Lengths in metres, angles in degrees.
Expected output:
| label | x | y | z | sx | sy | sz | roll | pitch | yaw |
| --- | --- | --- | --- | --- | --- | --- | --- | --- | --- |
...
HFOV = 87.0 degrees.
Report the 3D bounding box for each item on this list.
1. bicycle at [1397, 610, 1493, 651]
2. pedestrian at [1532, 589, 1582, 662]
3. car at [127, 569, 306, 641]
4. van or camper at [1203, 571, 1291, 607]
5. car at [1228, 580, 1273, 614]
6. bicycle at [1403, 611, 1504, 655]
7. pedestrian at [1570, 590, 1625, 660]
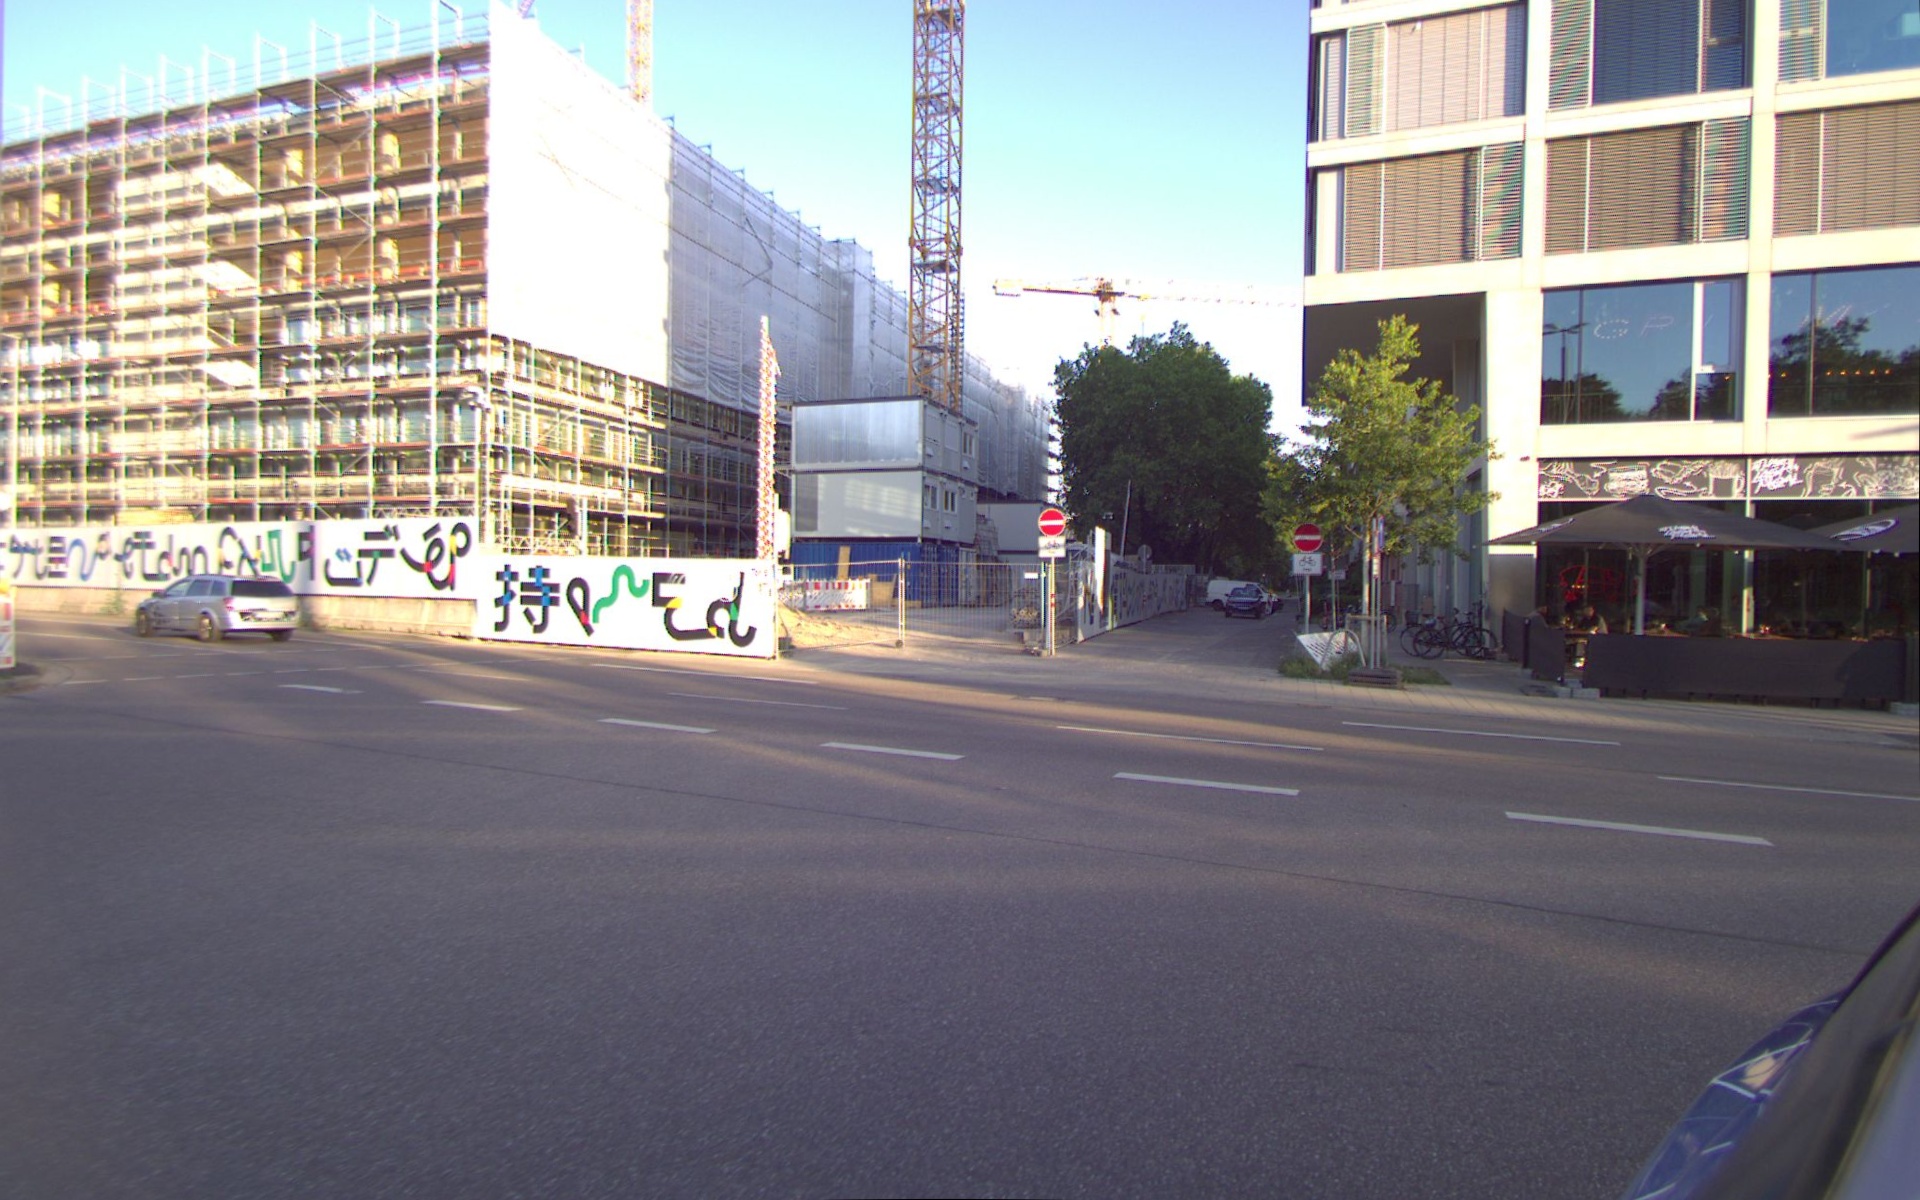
| label | x | y | z | sx | sy | sz | roll | pitch | yaw |
| --- | --- | --- | --- | --- | --- | --- | --- | --- | --- |
| bicycle | 11.132 | 0.691 | 23.296 | 1.952 | 0.885 | 0.393 | 0 | 2 | 18 |
| pedestrian | 12.553 | 0.528 | 21.283 | 0.763 | 1.481 | 0.602 | 1 | 1 | 19 |
| car | -16.931 | 0.081 | 23.010 | 4.030 | 1.473 | 1.653 | 2 | 0 | 27 |
| van or camper | 18.272 | -0.678 | 64.482 | 4.918 | 2.149 | 2.463 | -1 | 0 | 34 |
| car | 15.004 | -0.185 | 52.109 | 1.984 | 1.617 | 3.683 | 2 | 1 | 19 |
| bicycle | 10.912 | 0.726 | 22.425 | 1.952 | 0.885 | 0.393 | 1 | 3 | 18 |
| pedestrian | 13.423 | 0.515 | 21.321 | 0.758 | 1.432 | 0.605 | 1 | 1 | 3 |
